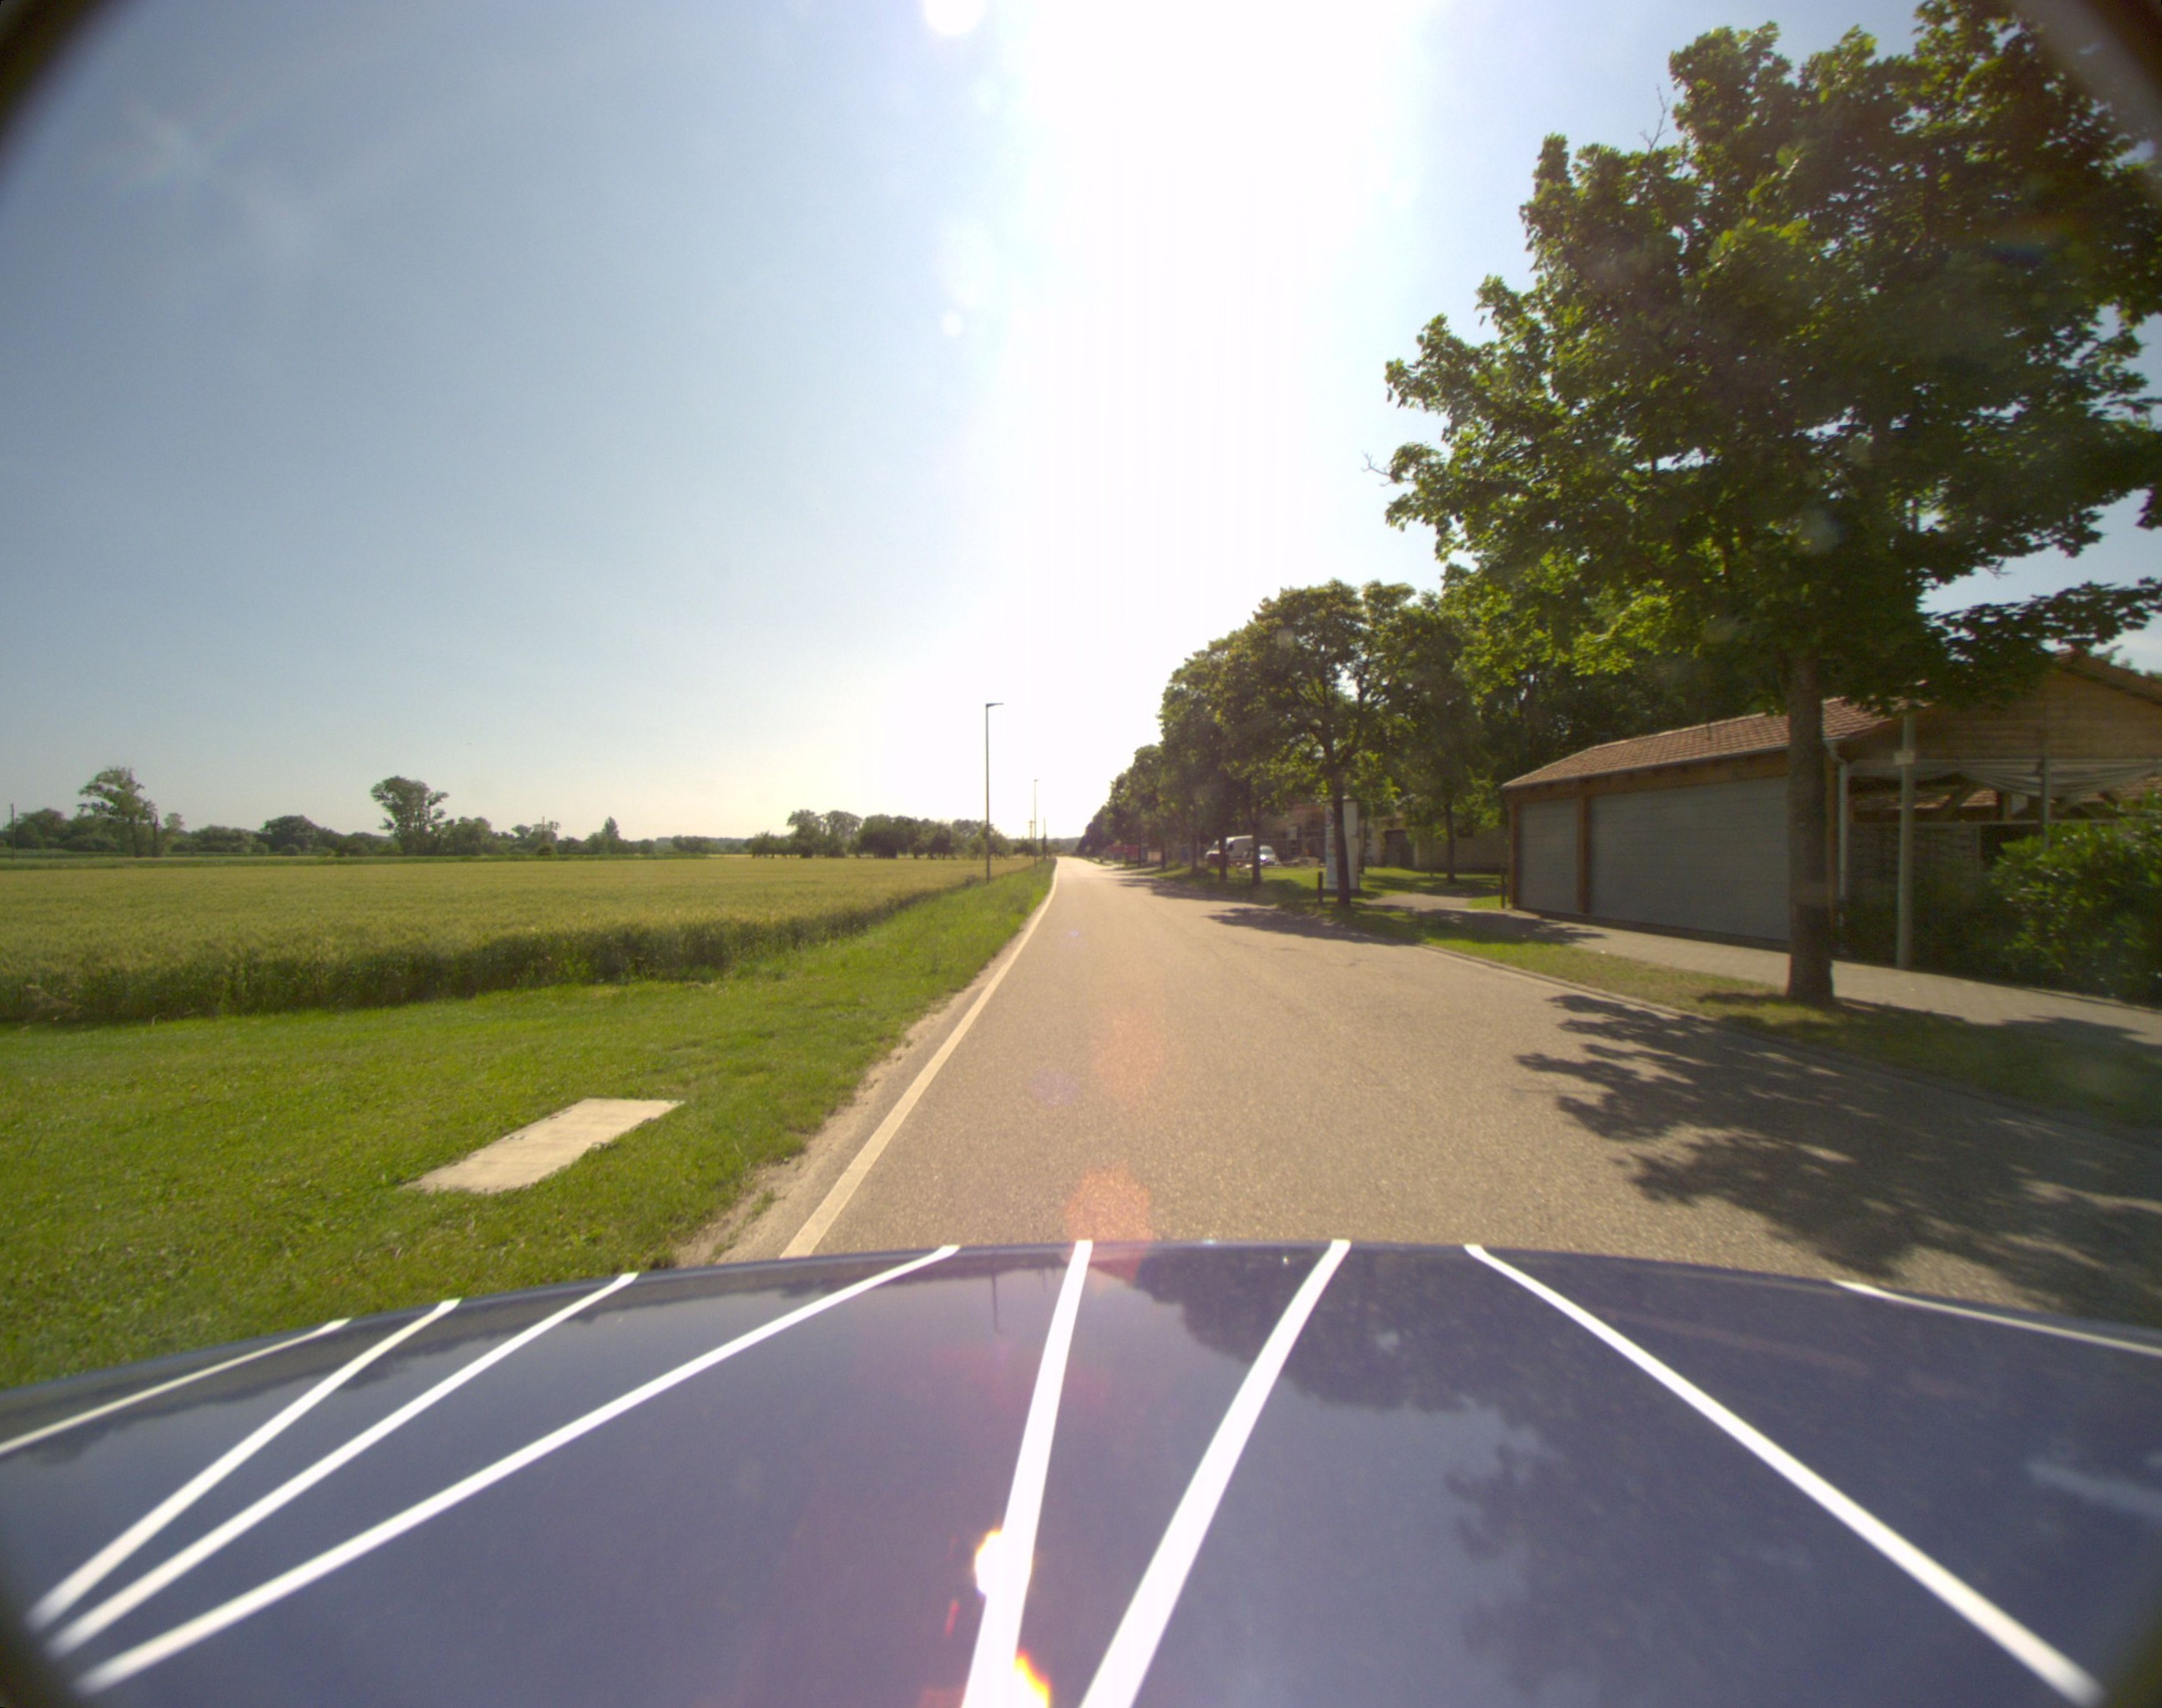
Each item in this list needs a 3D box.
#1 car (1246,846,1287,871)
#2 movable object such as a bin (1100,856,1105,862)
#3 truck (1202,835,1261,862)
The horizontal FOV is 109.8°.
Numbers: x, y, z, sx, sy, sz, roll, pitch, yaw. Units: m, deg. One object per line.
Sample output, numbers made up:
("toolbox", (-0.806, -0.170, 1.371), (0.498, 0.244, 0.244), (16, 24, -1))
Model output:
("car", (14.405, 0.355, 59.108), (1.976, 1.827, 4.327), (-1, 0, -2))
("movable object such as a bin", (3.157, 0.749, 111.220), (0.563, 0.872, 0.614), (0, 1, 6))
("truck", (14.115, -0.532, 70.826), (5.943, 2.469, 1.994), (-1, 1, -38))
